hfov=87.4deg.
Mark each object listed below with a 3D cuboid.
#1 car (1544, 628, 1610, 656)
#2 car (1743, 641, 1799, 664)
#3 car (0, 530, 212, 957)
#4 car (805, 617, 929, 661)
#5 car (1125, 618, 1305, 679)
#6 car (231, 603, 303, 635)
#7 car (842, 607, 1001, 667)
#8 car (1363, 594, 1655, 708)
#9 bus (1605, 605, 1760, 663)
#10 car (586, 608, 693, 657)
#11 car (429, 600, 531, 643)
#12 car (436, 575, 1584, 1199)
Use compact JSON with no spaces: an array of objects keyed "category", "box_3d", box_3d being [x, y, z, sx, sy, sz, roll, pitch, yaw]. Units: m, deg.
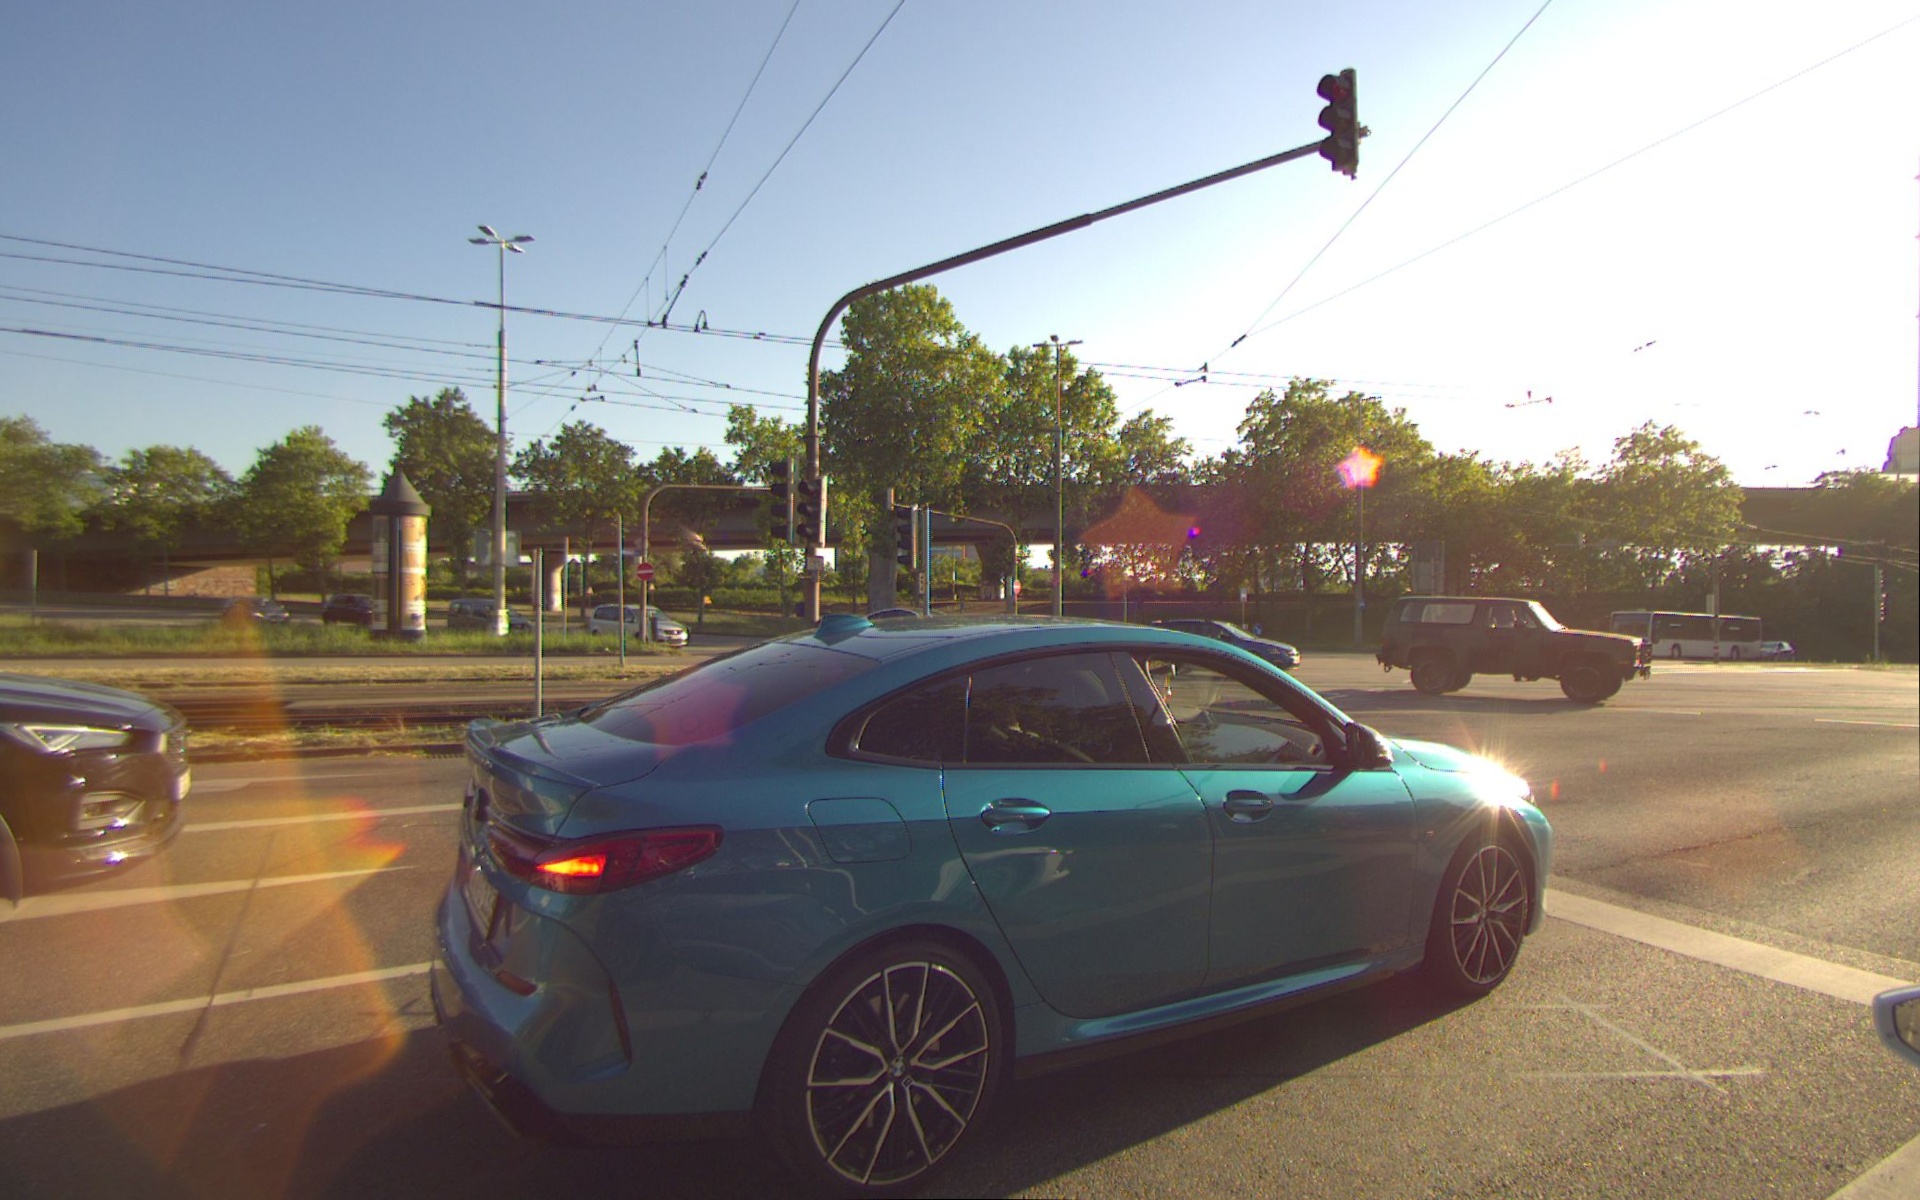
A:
[{"category":"car","box_3d":[35.296,2.407,57.424,3.964,1.532,1.598,2,0,-32]},{"category":"car","box_3d":[55.053,3.545,68.163,3.959,1.438,1.600,1,0,-29]},{"category":"car","box_3d":[-5.738,0.529,3.768,4.576,1.702,1.802,2,-1,-35]},{"category":"car","box_3d":[-3.436,1.388,36.708,4.415,1.387,1.689,1,0,34]},{"category":"car","box_3d":[7.008,1.296,27.897,4.552,1.478,1.687,1,-1,38]},{"category":"car","box_3d":[-36.750,0.999,53.263,3.867,1.546,1.719,1,0,32]},{"category":"car","box_3d":[-1.190,1.036,29.477,4.693,1.595,1.686,0,-1,39]},{"category":"car","box_3d":[10.939,0.916,20.208,4.868,2.017,2.029,1,-1,39]},{"category":"bus","box_3d":[45.523,2.223,63.077,12.756,3.171,2.534,3,-2,-28]},{"category":"car","box_3d":[-11.902,1.159,37.215,4.220,1.653,1.687,1,0,38]},{"category":"car","box_3d":[-20.579,0.913,43.052,4.333,1.701,1.691,1,0,28]},{"category":"car","box_3d":[0.444,0.746,3.803,4.162,1.485,1.704,1,-1,-33]}]
